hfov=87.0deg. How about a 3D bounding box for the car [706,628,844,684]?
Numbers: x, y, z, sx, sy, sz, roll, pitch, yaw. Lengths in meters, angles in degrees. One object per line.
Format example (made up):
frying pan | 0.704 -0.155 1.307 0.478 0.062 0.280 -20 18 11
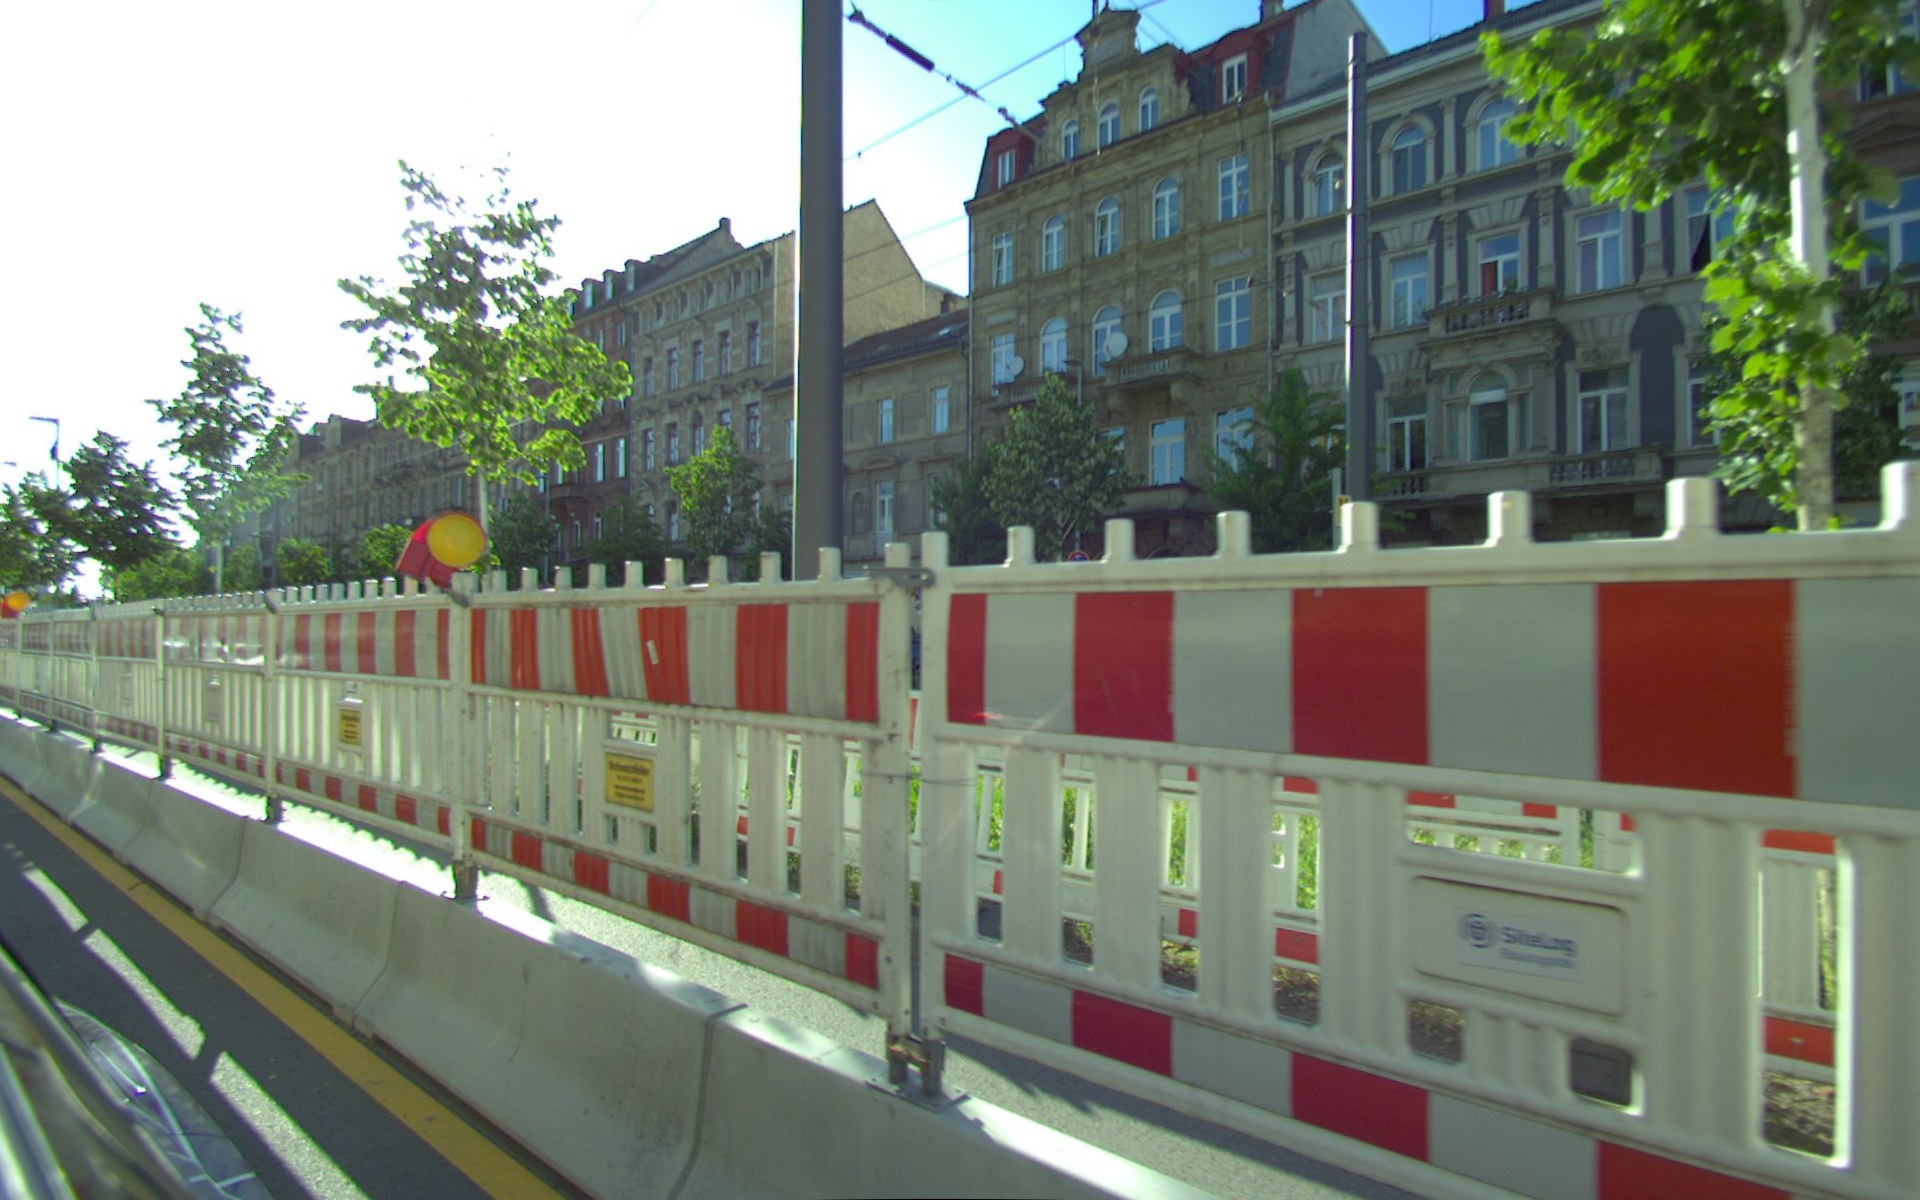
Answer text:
car | -6.325 1.849 34.277 4.884 1.710 1.973 -2 0 41

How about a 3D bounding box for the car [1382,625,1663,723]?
car | 11.095 1.385 20.170 4.544 1.671 1.917 -2 0 43

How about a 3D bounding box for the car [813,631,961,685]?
car | -2.250 1.692 30.537 4.305 1.449 1.973 -2 0 40

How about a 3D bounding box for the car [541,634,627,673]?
car | -15.967 2.234 42.925 4.026 1.490 1.730 -2 0 42

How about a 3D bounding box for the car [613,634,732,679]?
car | -10.977 2.095 38.480 4.982 1.549 1.973 -2 0 42
